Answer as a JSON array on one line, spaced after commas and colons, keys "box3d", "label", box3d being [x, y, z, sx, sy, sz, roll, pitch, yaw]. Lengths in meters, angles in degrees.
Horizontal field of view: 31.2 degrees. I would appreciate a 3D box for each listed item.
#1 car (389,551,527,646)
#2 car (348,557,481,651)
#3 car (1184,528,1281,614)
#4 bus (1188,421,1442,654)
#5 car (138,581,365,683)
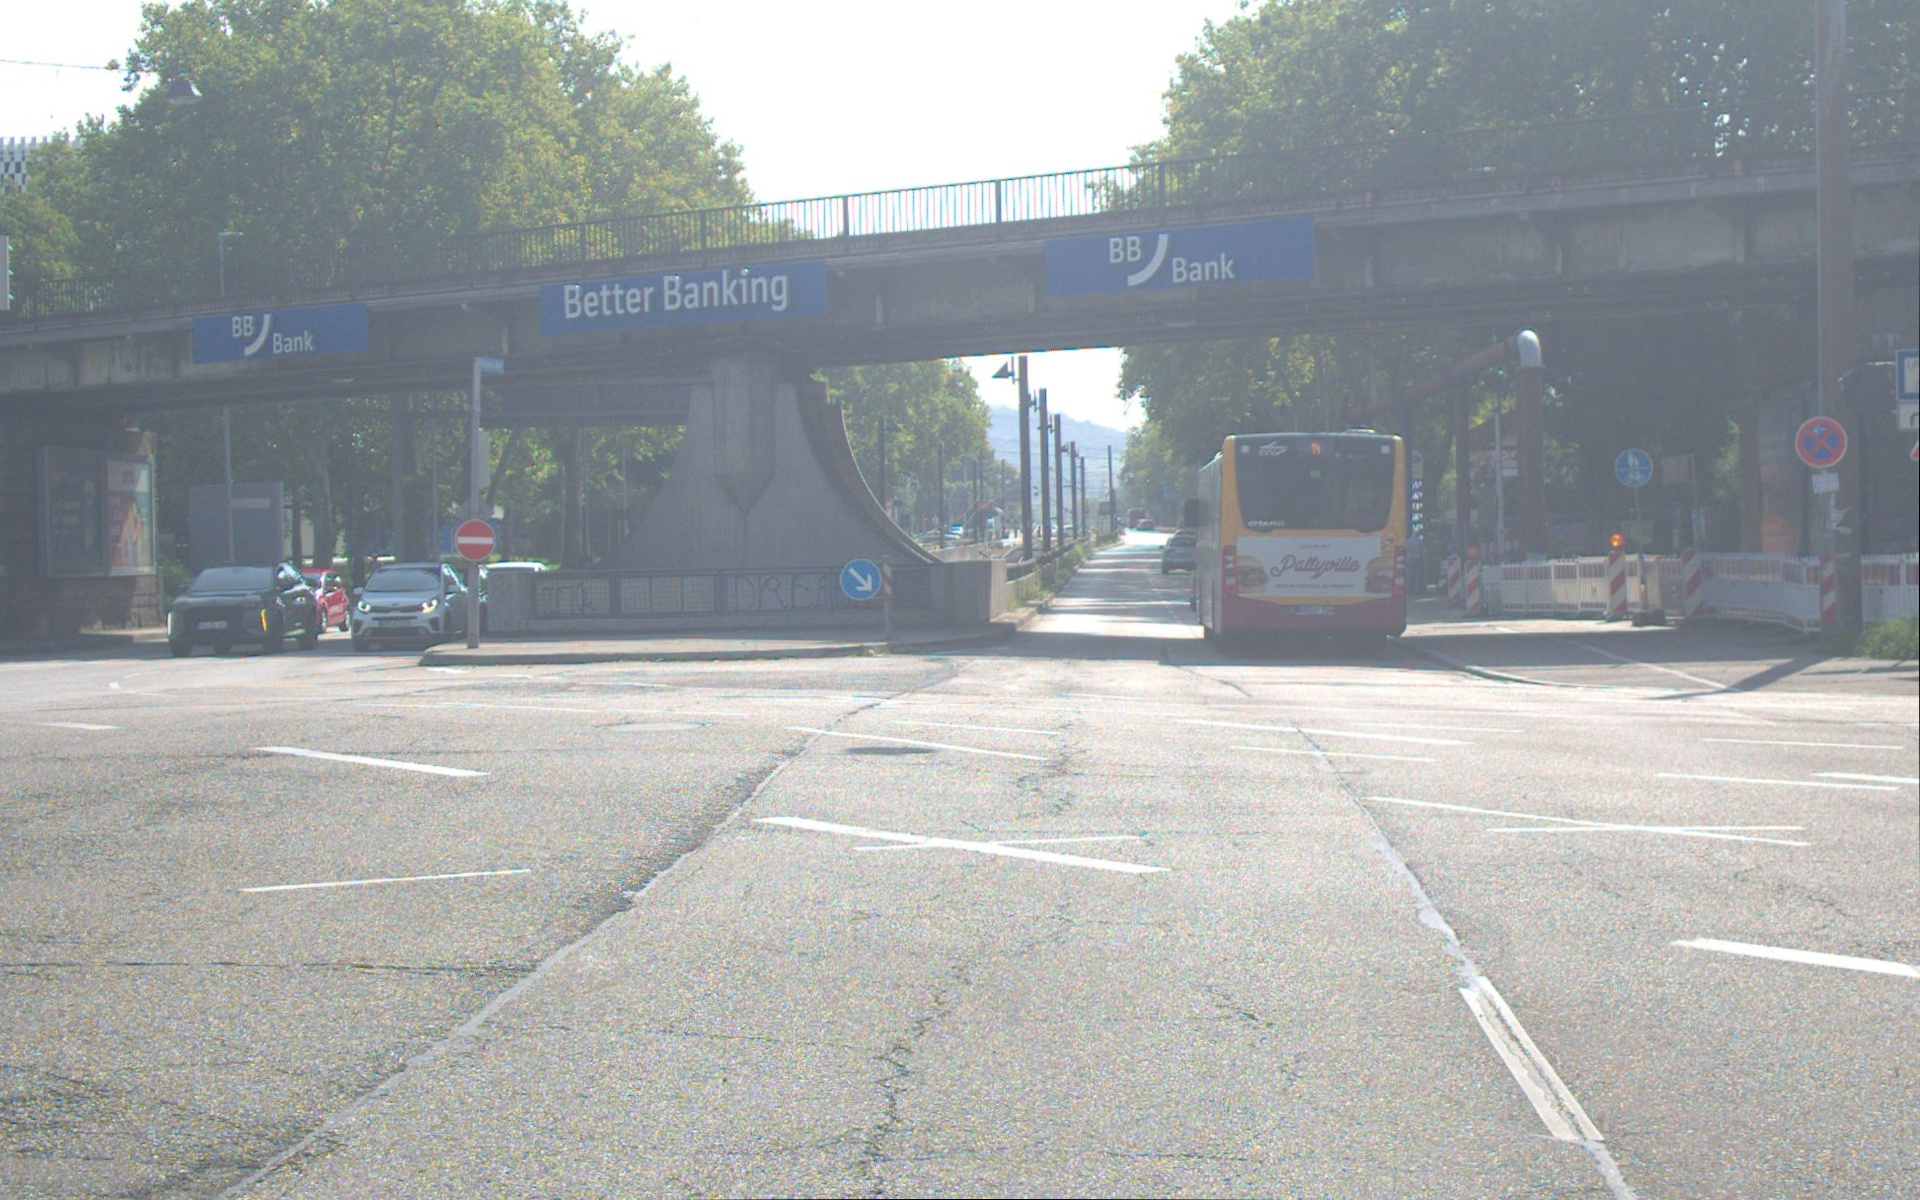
[{"box3d": [-9.349, -0.062, 64.343, 1.993, 1.567, 4.348, -1, 3, -1], "label": "car"}, {"box3d": [-9.430, 0.047, 59.662, 1.721, 1.533, 3.696, -2, 1, -1], "label": "car"}, {"box3d": [6.645, -0.723, 84.244, 1.993, 2.007, 4.000, 1, 1, 0], "label": "car"}, {"box3d": [5.162, -0.913, 52.218, 3.135, 3.103, 12.289, 0, 1, 3], "label": "bus"}, {"box3d": [-12.425, 0.531, 60.588, 1.903, 1.611, 4.470, -2, 0, 18], "label": "car"}]
